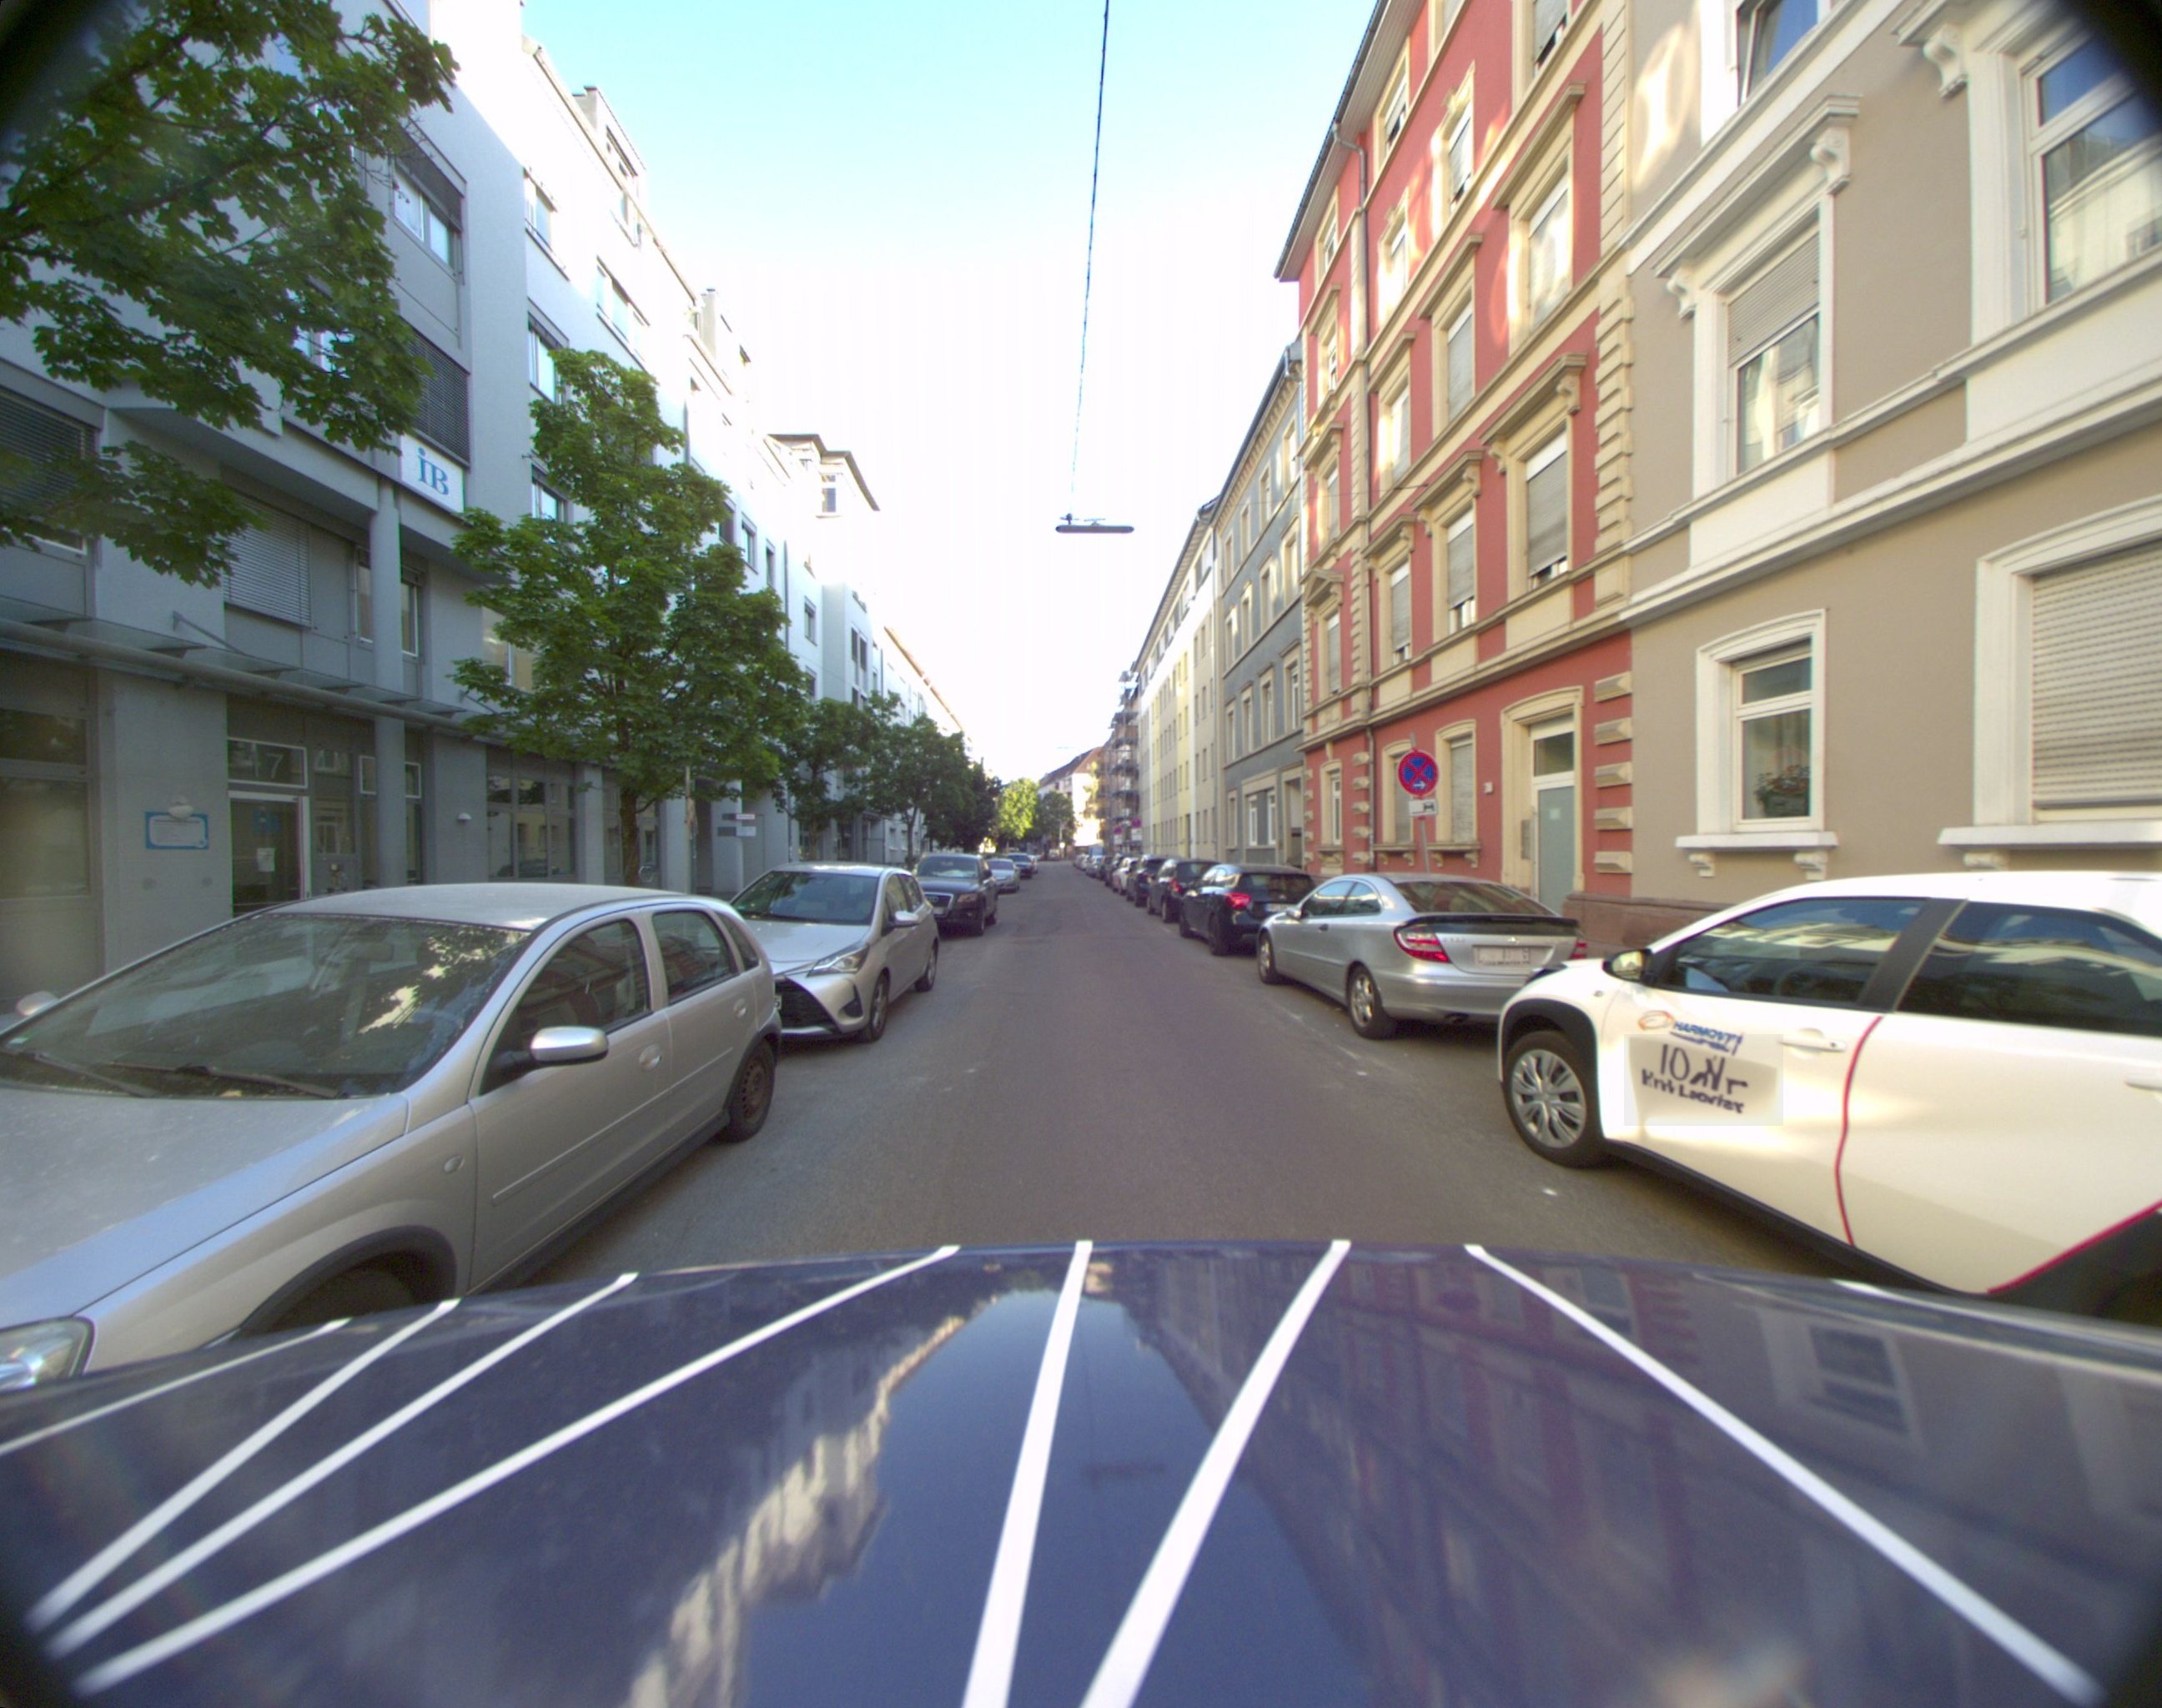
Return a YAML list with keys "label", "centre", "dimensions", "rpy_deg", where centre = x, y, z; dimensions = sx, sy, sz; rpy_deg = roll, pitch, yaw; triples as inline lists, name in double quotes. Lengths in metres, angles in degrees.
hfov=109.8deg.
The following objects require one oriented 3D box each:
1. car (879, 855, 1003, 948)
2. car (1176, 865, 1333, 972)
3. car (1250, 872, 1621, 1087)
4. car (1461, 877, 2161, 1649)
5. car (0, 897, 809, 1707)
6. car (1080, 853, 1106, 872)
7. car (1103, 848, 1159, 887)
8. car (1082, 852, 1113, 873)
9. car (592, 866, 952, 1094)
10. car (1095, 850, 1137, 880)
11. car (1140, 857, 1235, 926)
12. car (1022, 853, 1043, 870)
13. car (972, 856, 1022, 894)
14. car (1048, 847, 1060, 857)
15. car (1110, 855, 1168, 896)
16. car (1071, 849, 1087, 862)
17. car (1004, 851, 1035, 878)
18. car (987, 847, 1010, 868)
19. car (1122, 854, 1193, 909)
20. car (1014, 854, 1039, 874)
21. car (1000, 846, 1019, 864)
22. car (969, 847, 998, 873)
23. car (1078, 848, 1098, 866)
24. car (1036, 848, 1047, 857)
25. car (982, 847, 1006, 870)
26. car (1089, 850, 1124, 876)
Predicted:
- label: "car"
  centre: [-2.867, 0.904, 16.496]
  dimensions: [1.863, 1.679, 4.389]
  rpy_deg: [-1, 0, 0]
- label: "car"
  centre: [2.755, 0.963, 12.926]
  dimensions: [1.589, 1.407, 3.911]
  rpy_deg: [3, 0, -2]
- label: "car"
  centre: [3.041, 0.975, 7.537]
  dimensions: [1.614, 1.420, 3.960]
  rpy_deg: [2, 1, -3]
- label: "car"
  centre: [3.122, 0.939, 2.545]
  dimensions: [1.688, 1.487, 3.843]
  rpy_deg: [3, 1, 0]
- label: "car"
  centre: [-2.667, 1.035, 3.005]
  dimensions: [1.638, 1.439, 4.066]
  rpy_deg: [-1, 0, 1]
- label: "car"
  centre: [1.070, 0.726, 69.873]
  dimensions: [1.999, 1.576, 4.492]
  rpy_deg: [-1, 1, -3]
- label: "car"
  centre: [2.226, 0.564, 35.104]
  dimensions: [1.999, 1.640, 4.492]
  rpy_deg: [-1, 1, -3]
- label: "car"
  centre: [1.151, 0.582, 54.989]
  dimensions: [1.999, 1.437, 3.999]
  rpy_deg: [-1, 0, -2]
- label: "car"
  centre: [-2.633, 0.972, 7.654]
  dimensions: [1.913, 1.576, 4.000]
  rpy_deg: [-1, 0, 1]
- label: "car"
  centre: [2.012, 0.601, 45.024]
  dimensions: [1.999, 1.576, 4.492]
  rpy_deg: [-1, 1, -3]
- label: "car"
  centre: [2.537, 0.848, 19.050]
  dimensions: [1.537, 1.490, 4.194]
  rpy_deg: [1, 1, -3]
- label: "car"
  centre: [-4.418, 0.639, 69.414]
  dimensions: [1.856, 1.480, 3.998]
  rpy_deg: [-1, 0, -3]
- label: "car"
  centre: [-3.546, 0.851, 32.729]
  dimensions: [1.856, 1.480, 3.998]
  rpy_deg: [-1, 0, -3]
- label: "car"
  centre: [-4.640, -0.342, 132.407]
  dimensions: [1.999, 1.783, 3.999]
  rpy_deg: [-1, 0, -2]
- label: "car"
  centre: [2.217, 0.792, 29.989]
  dimensions: [1.662, 1.420, 4.351]
  rpy_deg: [-1, 1, -4]
- label: "car"
  centre: [-0.292, 0.185, 102.716]
  dimensions: [1.999, 1.783, 3.999]
  rpy_deg: [-1, 0, -2]
- label: "car"
  centre: [-3.941, 0.657, 49.205]
  dimensions: [1.856, 1.649, 3.998]
  rpy_deg: [-1, 0, -4]
- label: "car"
  centre: [-8.198, 0.298, 75.743]
  dimensions: [1.999, 2.002, 3.998]
  rpy_deg: [-1, 1, -3]
- label: "car"
  centre: [2.320, 0.792, 24.055]
  dimensions: [1.598, 1.513, 4.428]
  rpy_deg: [-1, 1, -3]
- label: "car"
  centre: [-4.407, 0.776, 61.658]
  dimensions: [1.903, 1.510, 4.222]
  rpy_deg: [-1, 0, -3]
- label: "car"
  centre: [-8.346, 0.154, 88.466]
  dimensions: [1.999, 2.002, 3.998]
  rpy_deg: [-1, 1, -3]
- label: "car"
  centre: [-7.856, 0.498, 61.759]
  dimensions: [1.999, 2.002, 3.998]
  rpy_deg: [-1, 1, -3]
- label: "car"
  centre: [0.717, 0.294, 80.111]
  dimensions: [1.999, 1.783, 3.999]
  rpy_deg: [-1, 0, -2]
- label: "car"
  centre: [-7.010, -0.235, 133.976]
  dimensions: [1.703, 1.537, 3.829]
  rpy_deg: [-4, 1, -1]
- label: "car"
  centre: [-8.131, 0.396, 71.254]
  dimensions: [1.999, 2.002, 3.998]
  rpy_deg: [-1, 1, -3]
- label: "car"
  centre: [1.594, 0.560, 49.712]
  dimensions: [1.999, 1.566, 4.148]
  rpy_deg: [-1, 0, -2]
